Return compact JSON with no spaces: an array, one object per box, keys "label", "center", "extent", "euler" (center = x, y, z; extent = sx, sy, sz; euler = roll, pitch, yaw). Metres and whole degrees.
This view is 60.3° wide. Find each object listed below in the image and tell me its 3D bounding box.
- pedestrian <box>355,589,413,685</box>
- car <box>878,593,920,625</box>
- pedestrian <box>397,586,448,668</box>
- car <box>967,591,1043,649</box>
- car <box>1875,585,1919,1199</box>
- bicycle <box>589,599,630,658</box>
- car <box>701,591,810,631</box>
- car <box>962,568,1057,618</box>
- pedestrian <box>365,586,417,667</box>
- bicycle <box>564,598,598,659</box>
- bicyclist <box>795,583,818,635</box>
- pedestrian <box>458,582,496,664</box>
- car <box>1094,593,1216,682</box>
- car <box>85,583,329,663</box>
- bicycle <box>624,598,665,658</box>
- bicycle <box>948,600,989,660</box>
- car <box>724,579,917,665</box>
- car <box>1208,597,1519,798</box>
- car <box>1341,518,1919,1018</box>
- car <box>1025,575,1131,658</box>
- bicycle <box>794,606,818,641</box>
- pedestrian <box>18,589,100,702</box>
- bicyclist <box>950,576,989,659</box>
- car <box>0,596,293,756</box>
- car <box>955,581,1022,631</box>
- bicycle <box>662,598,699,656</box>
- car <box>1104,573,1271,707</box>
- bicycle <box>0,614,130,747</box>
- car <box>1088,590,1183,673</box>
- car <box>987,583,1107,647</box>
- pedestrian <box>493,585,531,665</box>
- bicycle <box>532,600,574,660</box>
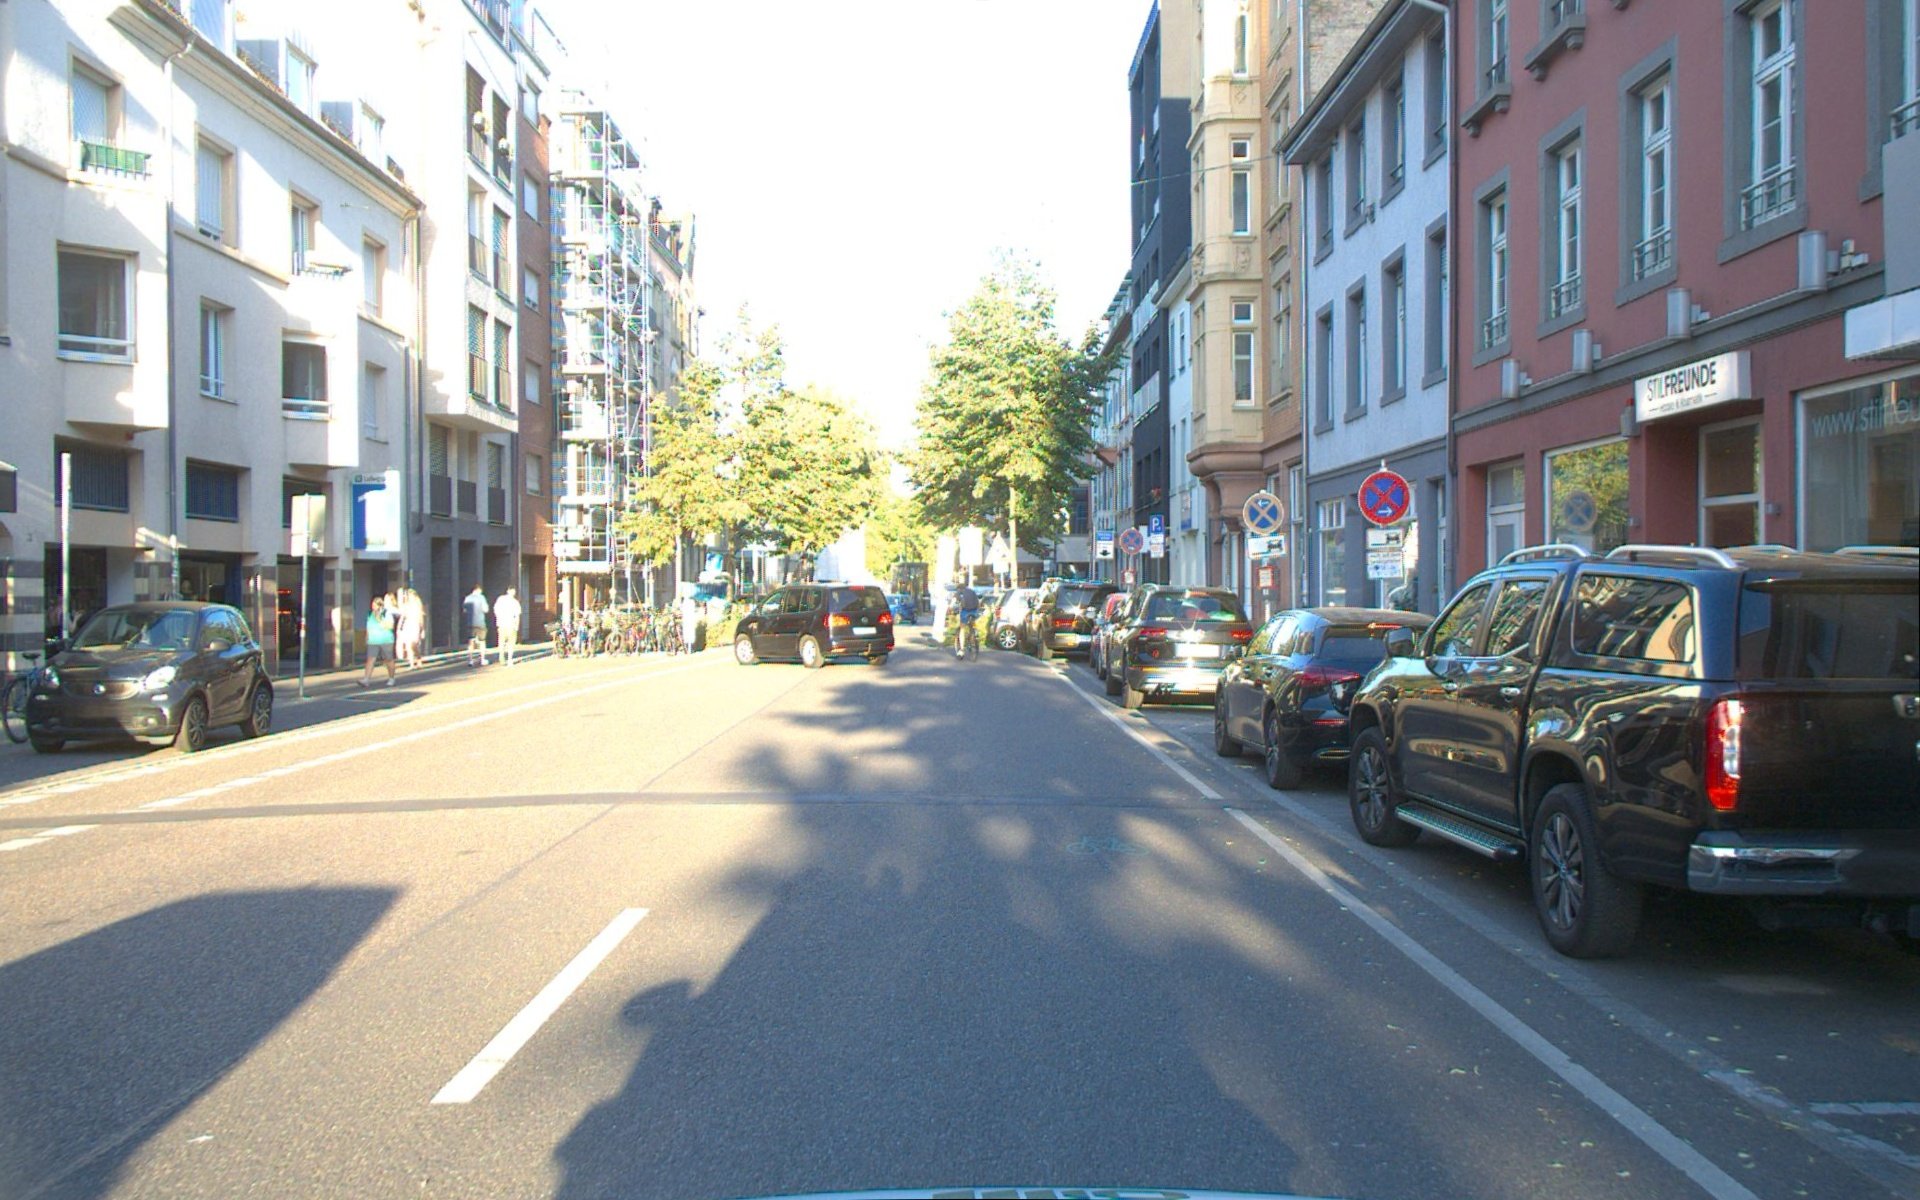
[{"label":"pedestrian","center":[-10.262,0.650,29.487],"extent":[0.702,1.670,0.951],"euler":[1,0,-3]},{"label":"car","center":[-2.972,0.444,80.849],"extent":[1.800,1.466,4.332],"euler":[2,0,1]},{"label":"pedestrian","center":[-11.160,0.563,34.350],"extent":[0.701,1.670,0.855],"euler":[1,0,4]},{"label":"car","center":[1.347,0.593,51.345],"extent":[1.954,1.697,4.506],"euler":[1,0,-3]},{"label":"car","center":[3.215,0.749,1.801],"extent":[1.774,1.554,4.994],"euler":[1,0,1]},{"label":"bicycle","center":[-8.647,0.671,40.904],"extent":[0.766,1.397,3.136],"euler":[1,0,-9]},{"label":"car","center":[-8.097,0.448,65.638],"extent":[4.018,1.491,1.890],"euler":[1,0,1]},{"label":"car","center":[2.114,-0.294,69.981],"extent":[3.903,2.049,2.001],"euler":[0,0,4]},{"label":"pedestrian","center":[-11.855,0.545,34.469],"extent":[0.701,1.670,0.855],"euler":[1,0,4]},{"label":"bicycle","center":[-9.325,0.675,40.777],"extent":[0.574,1.420,3.155],"euler":[1,0,-9]},{"label":"bicyclist","center":[-5.599,0.320,60.348],"extent":[0.765,1.861,1.007],"euler":[-1,0,-3]},{"label":"pedestrian","center":[-10.743,0.514,36.802],"extent":[0.703,1.798,0.693],"euler":[1,0,-8]},{"label":"car","center":[3.268,0.603,28.262],"extent":[1.632,1.402,3.802],"euler":[1,0,0]},{"label":"car","center":[-16.447,0.500,36.256],"extent":[4.401,1.629,2.001],"euler":[1,0,2]},{"label":"bicycle","center":[-7.816,0.669,41.051],"extent":[0.876,1.420,3.160],"euler":[0,0,-9]},{"label":"bicycle","center":[0.165,0.616,35.235],"extent":[0.765,1.225,2.020],"euler":[-1,0,-3]},{"label":"car","center":[-2.919,0.496,33.669],"extent":[1.977,1.630,4.453],"euler":[1,-2,-35]},{"label":"car","center":[3.408,0.753,14.798],"extent":[1.726,1.509,4.307],"euler":[1,0,0]},{"label":"car","center":[3.521,0.620,8.496],"extent":[1.845,1.785,5.057],"euler":[1,0,-1]},{"label":"car","center":[2.560,0.351,36.805],"extent":[1.788,1.725,4.366],"euler":[1,0,-3]},{"label":"bicycle","center":[-5.618,0.844,60.312],"extent":[0.765,1.225,2.020],"euler":[-1,0,-3]},{"label":"pedestrian","center":[-13.380,0.667,24.573],"extent":[0.702,1.644,0.855],"euler":[1,0,2]},{"label":"bicyclist","center":[0.195,0.373,35.120],"extent":[0.765,1.726,1.007],"euler":[-1,0,-3]},{"label":"car","center":[-8.756,0.755,18.087],"extent":[1.756,1.562,3.187],"euler":[0,0,-3]},{"label":"car","center":[1.076,0.236,64.615],"extent":[2.220,1.797,4.506],"euler":[2,0,-4]},{"label":"bicycle","center":[-6.945,0.639,41.196],"extent":[0.829,1.374,3.180],"euler":[-1,0,-9]},{"label":"car","center":[3.112,0.521,23.364],"extent":[1.775,1.697,4.205],"euler":[1,0,0]},{"label":"bicycle","center":[-10.419,0.878,18.991],"extent":[0.598,1.399,2.358],"euler":[1,0,-1]},{"label":"car","center":[3.368,0.593,32.210],"extent":[1.554,1.509,3.267],"euler":[1,0,1]},{"label":"car","center":[2.207,0.385,42.470],"extent":[2.910,1.563,1.432],"euler":[1,0,-5]},{"label":"pedestrian","center":[-10.066,0.563,37.165],"extent":[0.703,1.771,0.737],"euler":[1,0,-8]},{"label":"bicycle","center":[-9.981,0.706,40.663],"extent":[0.707,1.420,3.147],"euler":[1,0,-9]}]
